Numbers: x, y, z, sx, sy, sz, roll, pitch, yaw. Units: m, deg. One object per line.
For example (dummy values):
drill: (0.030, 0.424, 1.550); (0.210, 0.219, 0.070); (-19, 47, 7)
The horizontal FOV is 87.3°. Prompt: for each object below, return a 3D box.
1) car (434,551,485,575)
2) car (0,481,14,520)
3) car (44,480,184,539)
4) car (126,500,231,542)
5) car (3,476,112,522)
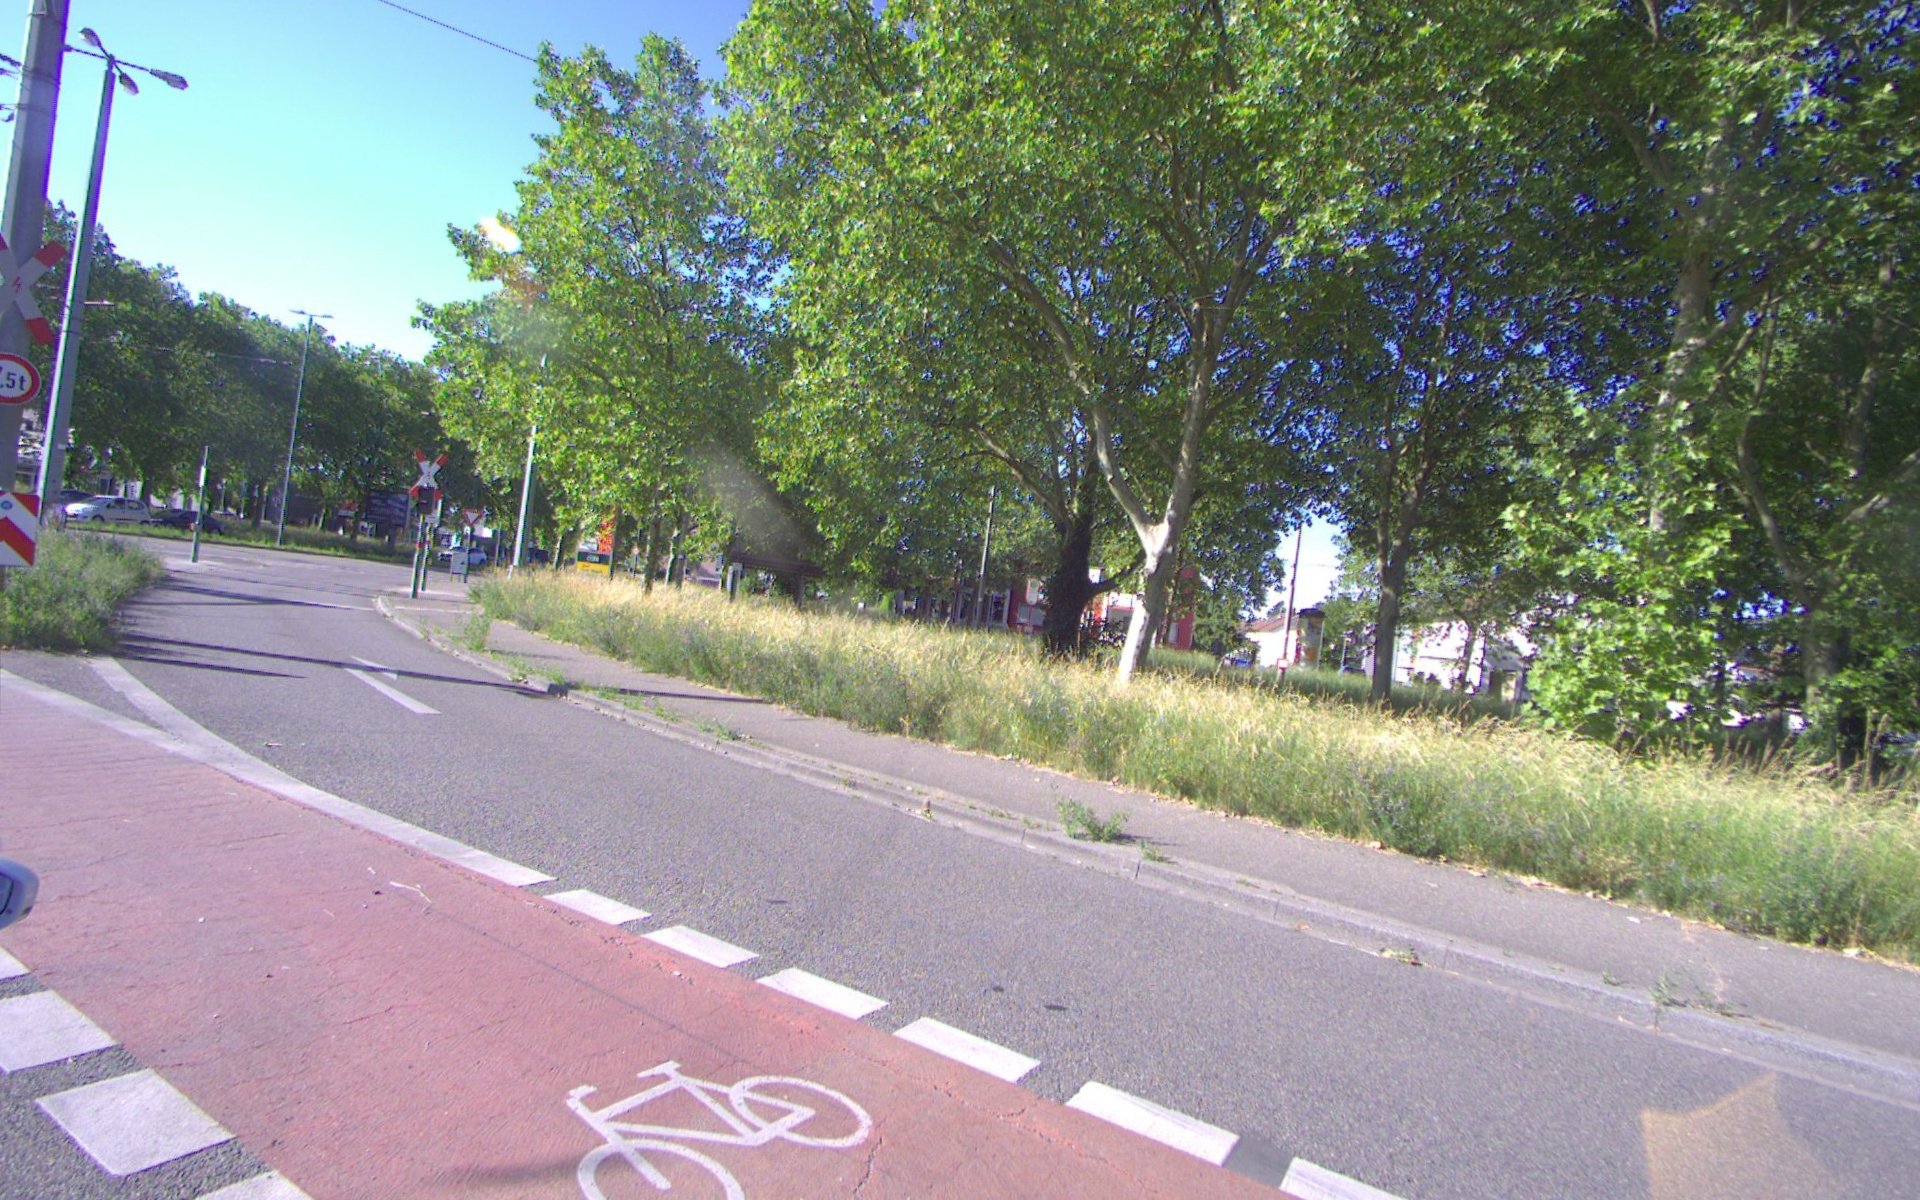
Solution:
car: (-40.359, -2.971, 81.153); (1.563, 1.519, 4.003); (7, -1, 8)
car: (-41.047, -4.323, 40.572); (1.575, 1.549, 4.002); (7, 0, 9)
car: (-40.473, -4.287, 48.295); (1.962, 2.038, 4.907); (7, -1, 9)
car: (-42.936, -4.307, 55.419); (1.661, 1.593, 4.528); (7, -1, 9)
car: (-44.024, -4.909, 49.159); (1.462, 1.589, 3.758); (7, -1, 9)
